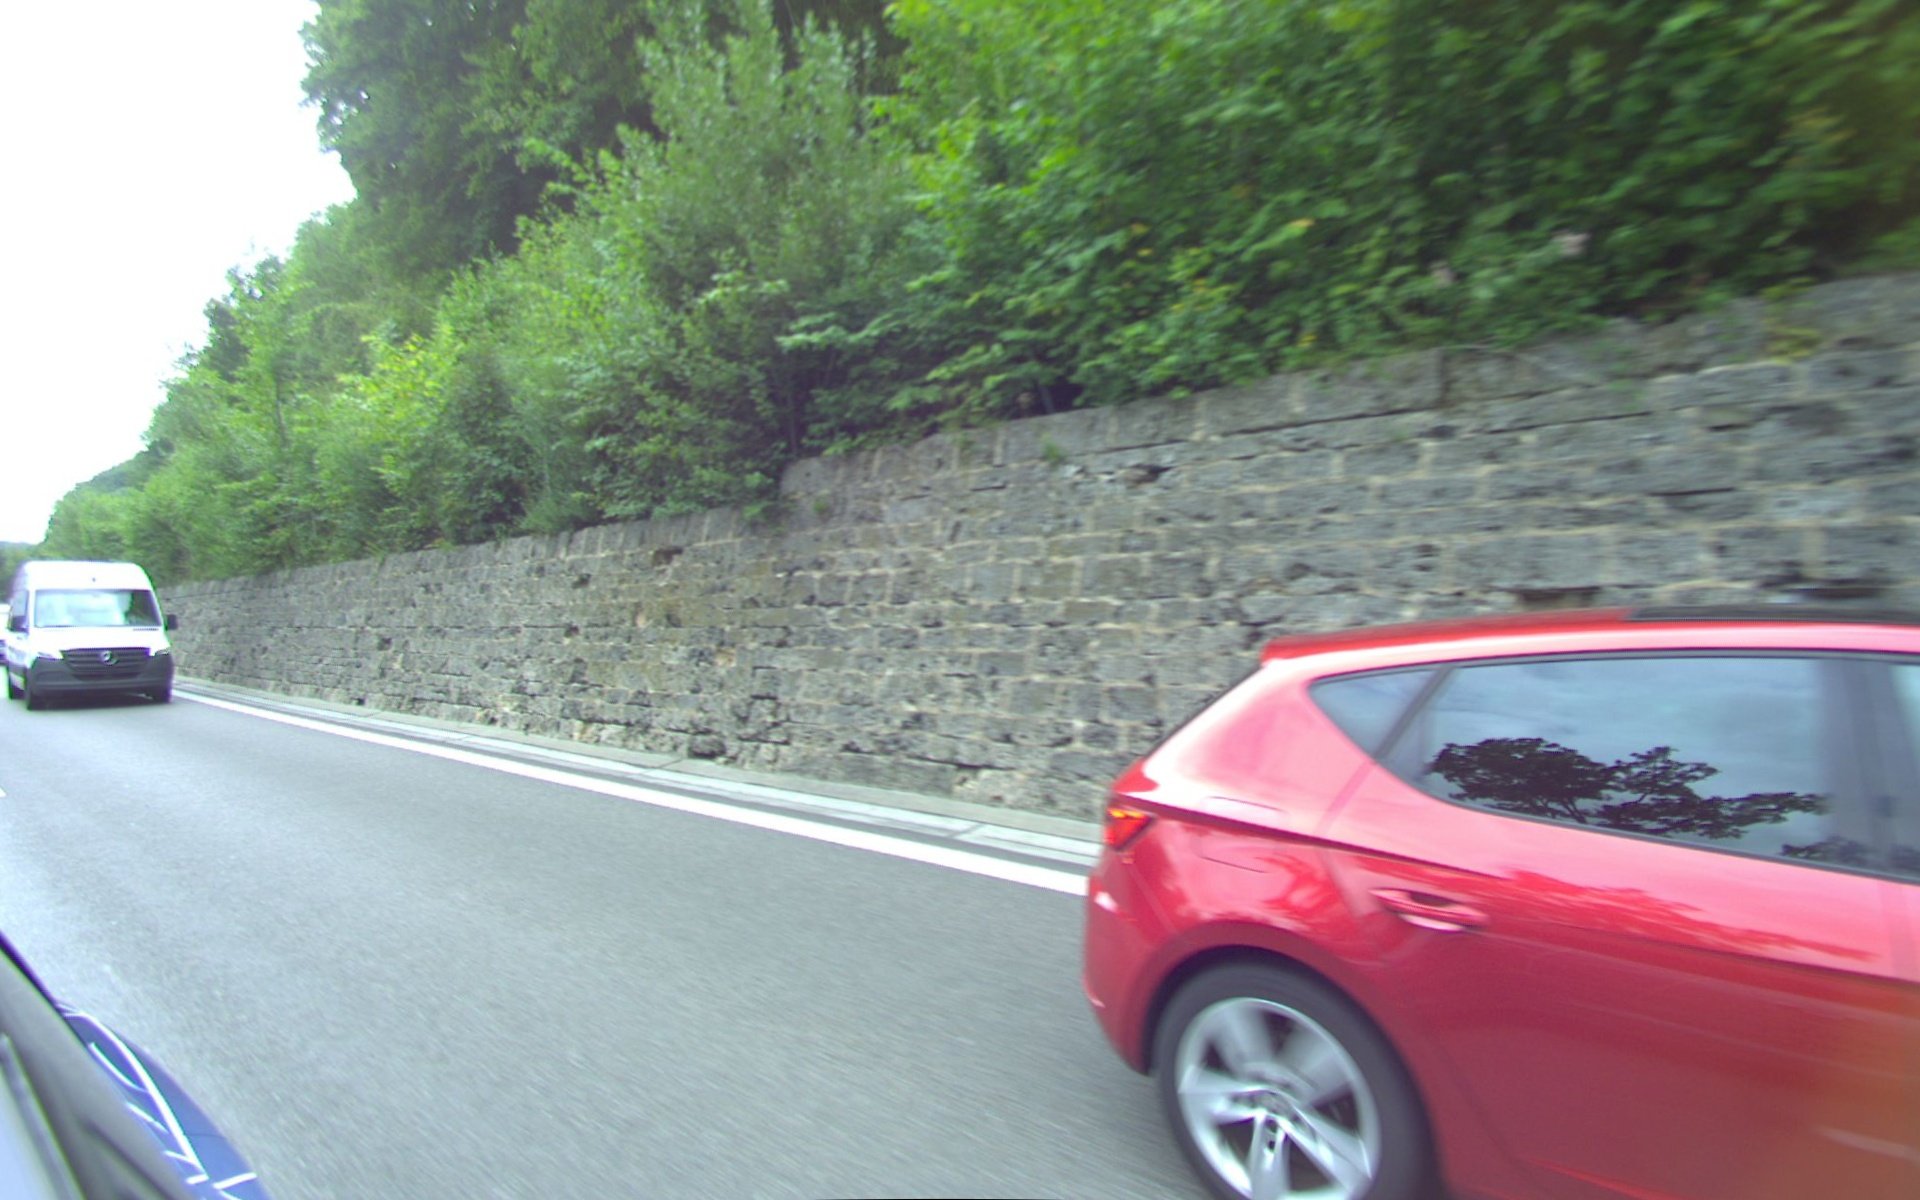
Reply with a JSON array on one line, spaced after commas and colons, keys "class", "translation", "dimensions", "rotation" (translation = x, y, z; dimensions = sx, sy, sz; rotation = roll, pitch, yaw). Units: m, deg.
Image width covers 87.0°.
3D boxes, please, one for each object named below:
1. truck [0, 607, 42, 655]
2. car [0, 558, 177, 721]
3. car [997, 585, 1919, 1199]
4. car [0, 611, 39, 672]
[{"class": "truck", "translation": [-48.680, 1.576, 51.866], "dimensions": [1.968, 2.297, 6.597], "rotation": [-2, 1, -39]}, {"class": "car", "translation": [-16.584, 0.663, 19.027], "dimensions": [6.275, 2.605, 2.004], "rotation": [-1, 0, 43]}, {"class": "car", "translation": [2.324, 0.702, 1.862], "dimensions": [4.410, 1.471, 1.748], "rotation": [-1, 0, 42]}, {"class": "car", "translation": [-33.965, 1.449, 35.713], "dimensions": [1.970, 1.967, 6.152], "rotation": [-2, 1, -44]}]
